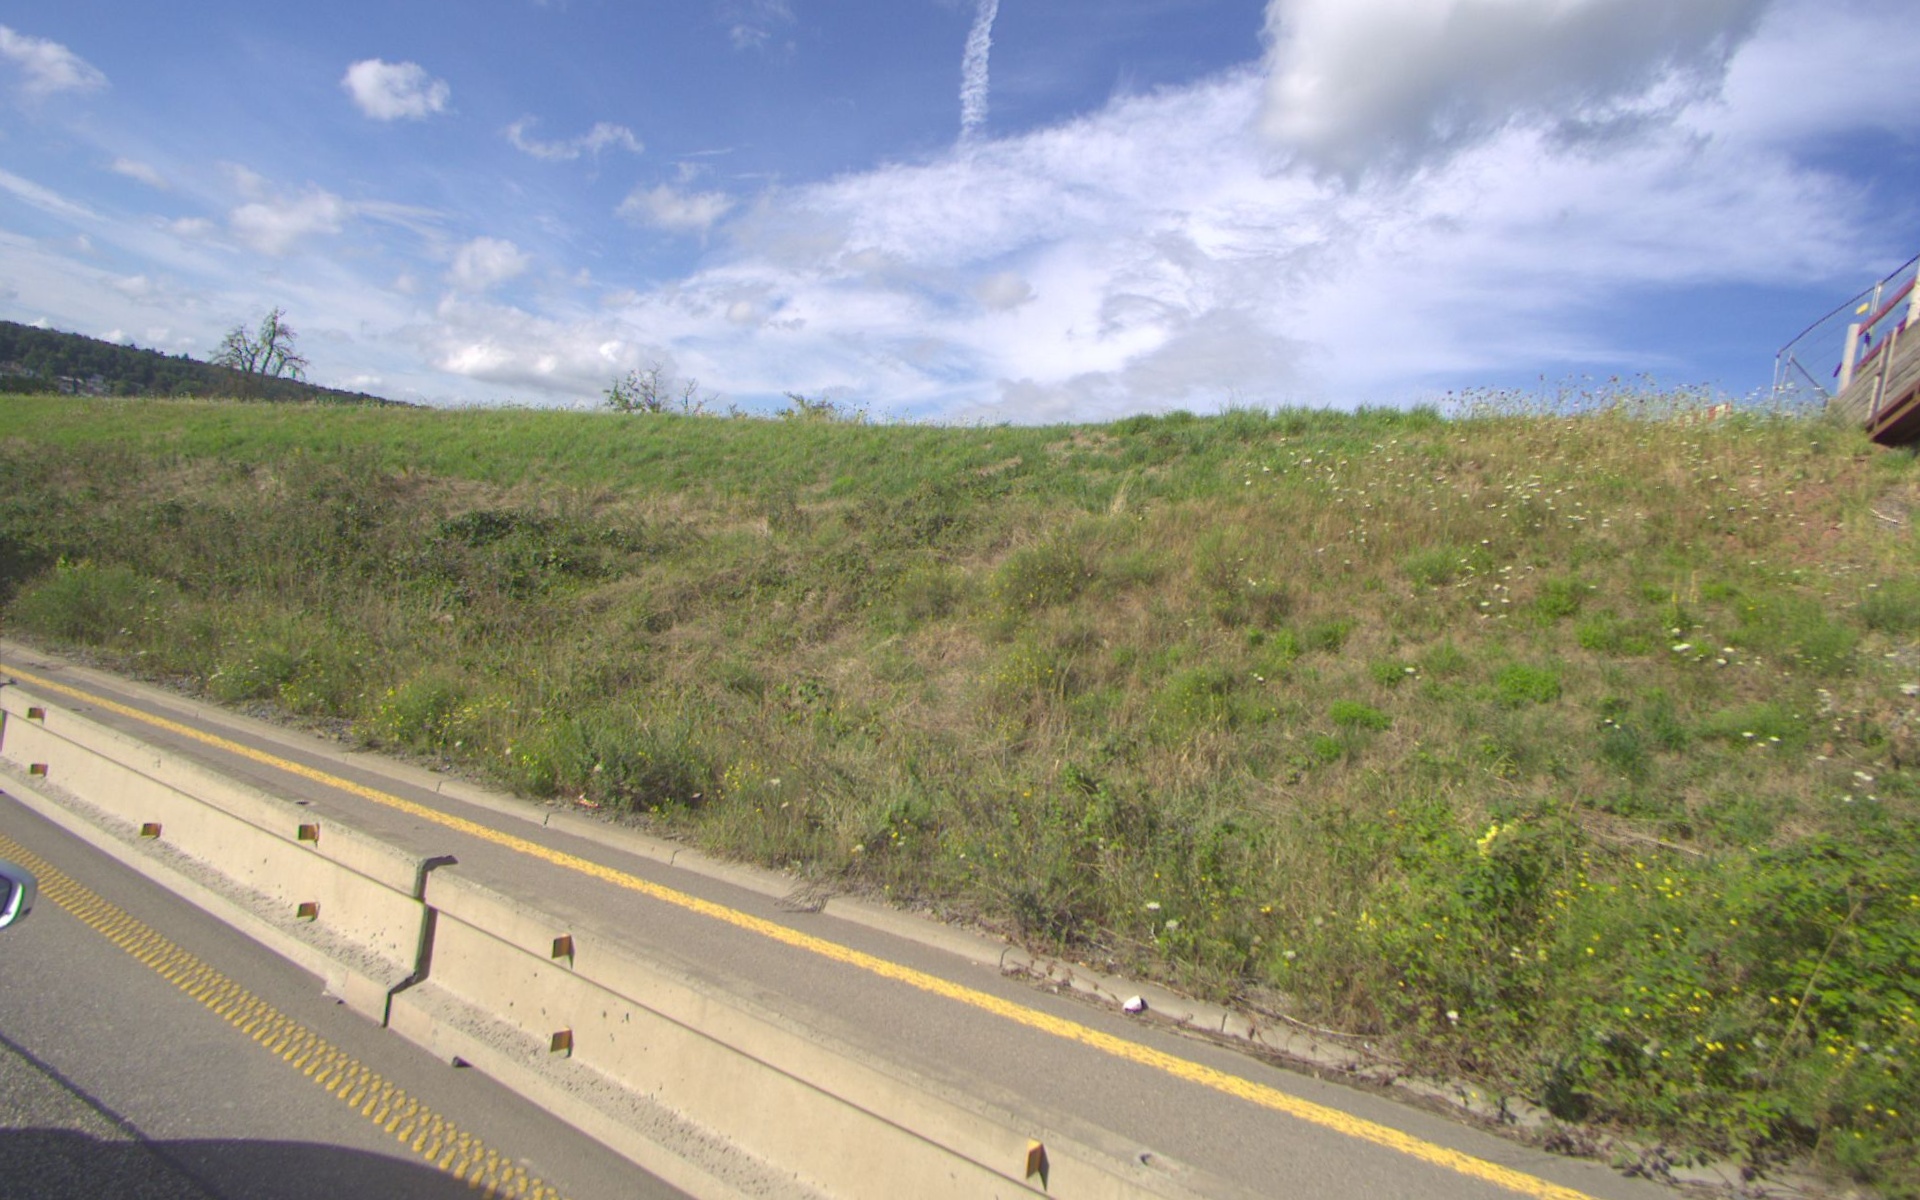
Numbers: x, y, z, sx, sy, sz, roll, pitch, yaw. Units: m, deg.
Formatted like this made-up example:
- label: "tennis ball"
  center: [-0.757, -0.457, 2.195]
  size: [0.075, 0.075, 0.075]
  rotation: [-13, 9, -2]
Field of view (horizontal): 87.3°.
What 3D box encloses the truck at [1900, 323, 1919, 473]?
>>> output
- label: "truck"
  center: [14.924, -3.985, 12.012]
  size: [2.909, 3.266, 9.283]
  rotation: [7, -1, 29]
